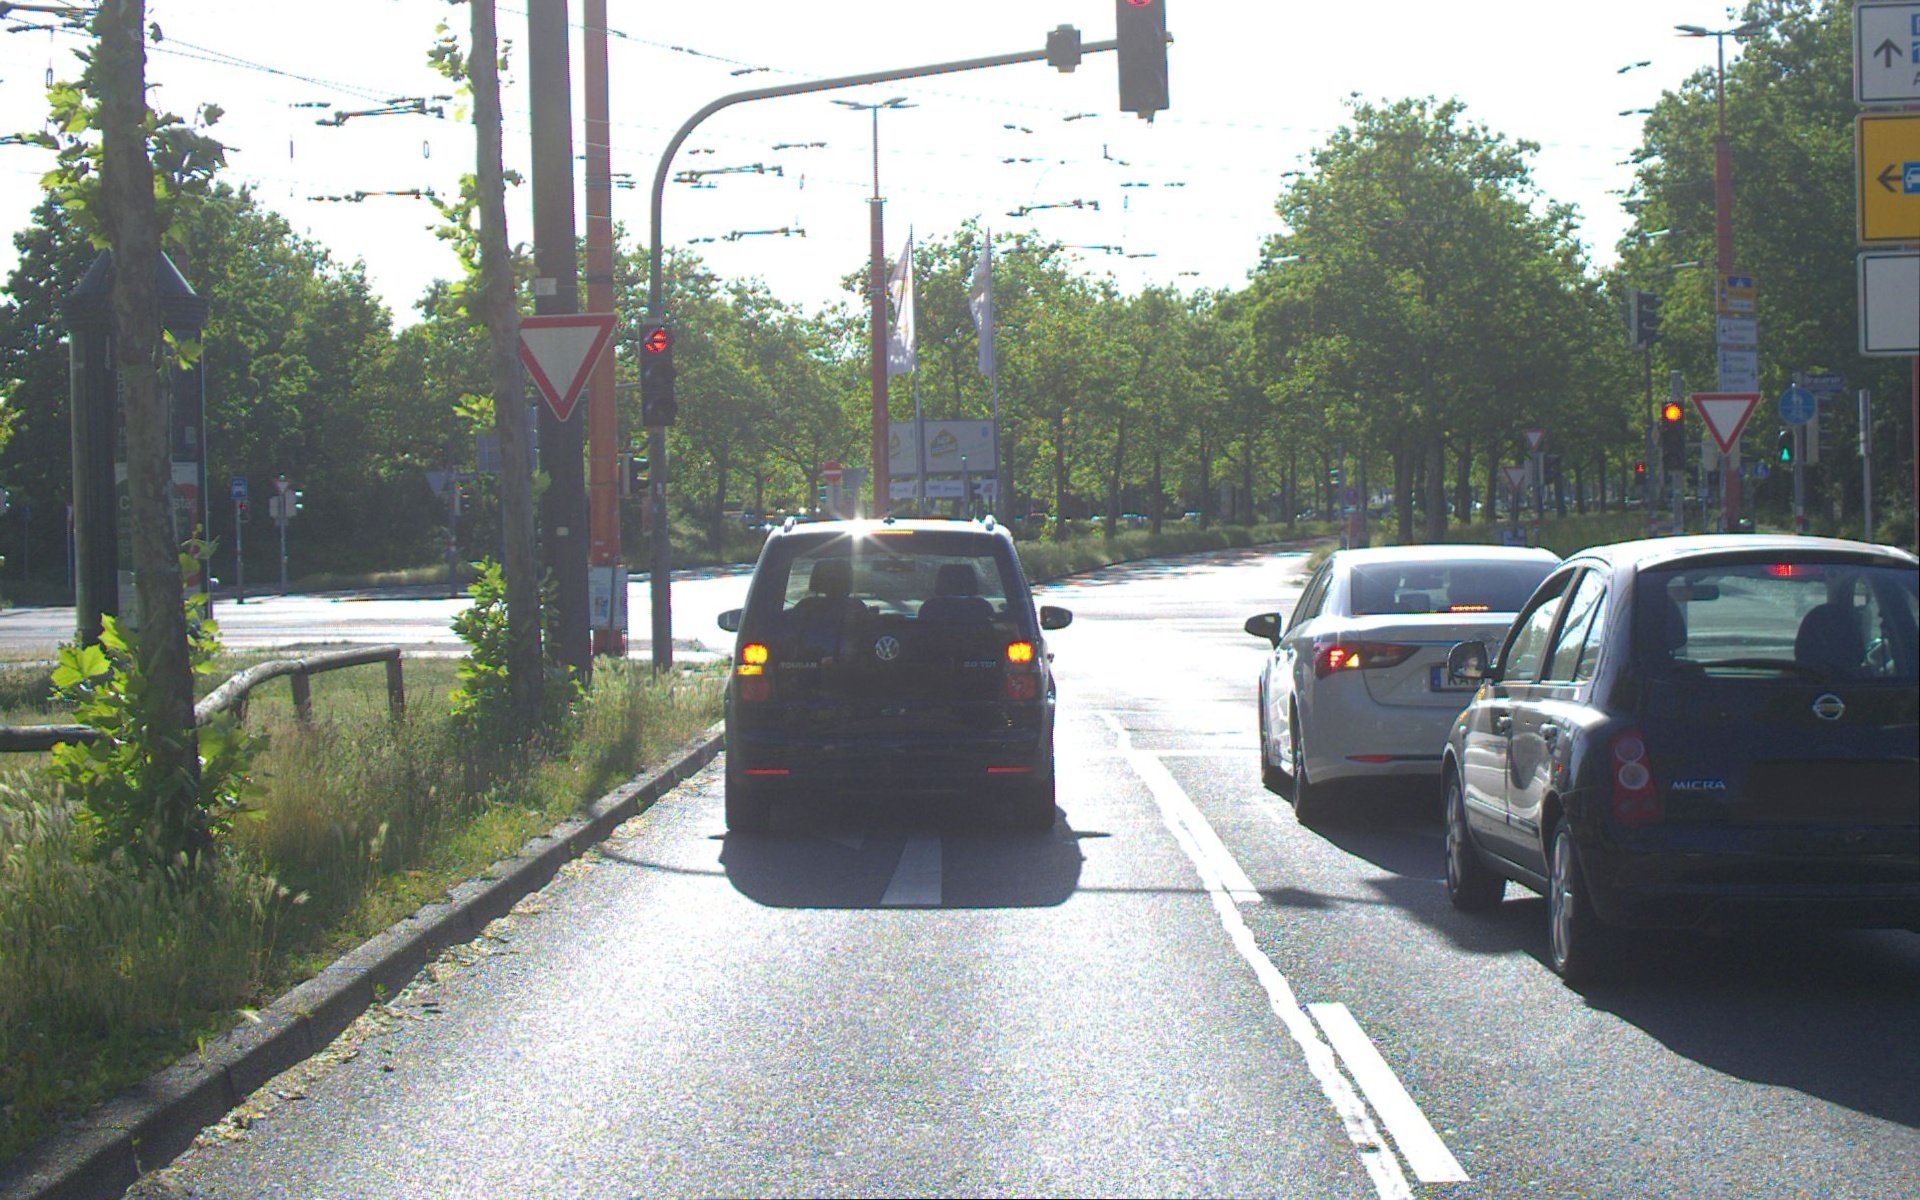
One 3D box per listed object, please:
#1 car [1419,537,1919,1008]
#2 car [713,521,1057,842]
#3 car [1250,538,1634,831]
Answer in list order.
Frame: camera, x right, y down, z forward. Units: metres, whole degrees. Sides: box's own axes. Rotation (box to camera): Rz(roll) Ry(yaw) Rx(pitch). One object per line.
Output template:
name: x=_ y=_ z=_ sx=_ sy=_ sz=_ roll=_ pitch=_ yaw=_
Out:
car: x=2.781 y=0.525 z=12.789 sx=1.639 sy=1.489 sz=3.503 roll=0 pitch=1 yaw=-1
car: x=-0.394 y=0.386 z=18.865 sx=1.710 sy=1.598 sz=3.350 roll=0 pitch=1 yaw=-1
car: x=2.597 y=0.400 z=19.356 sx=1.678 sy=1.470 sz=4.130 roll=0 pitch=1 yaw=1
